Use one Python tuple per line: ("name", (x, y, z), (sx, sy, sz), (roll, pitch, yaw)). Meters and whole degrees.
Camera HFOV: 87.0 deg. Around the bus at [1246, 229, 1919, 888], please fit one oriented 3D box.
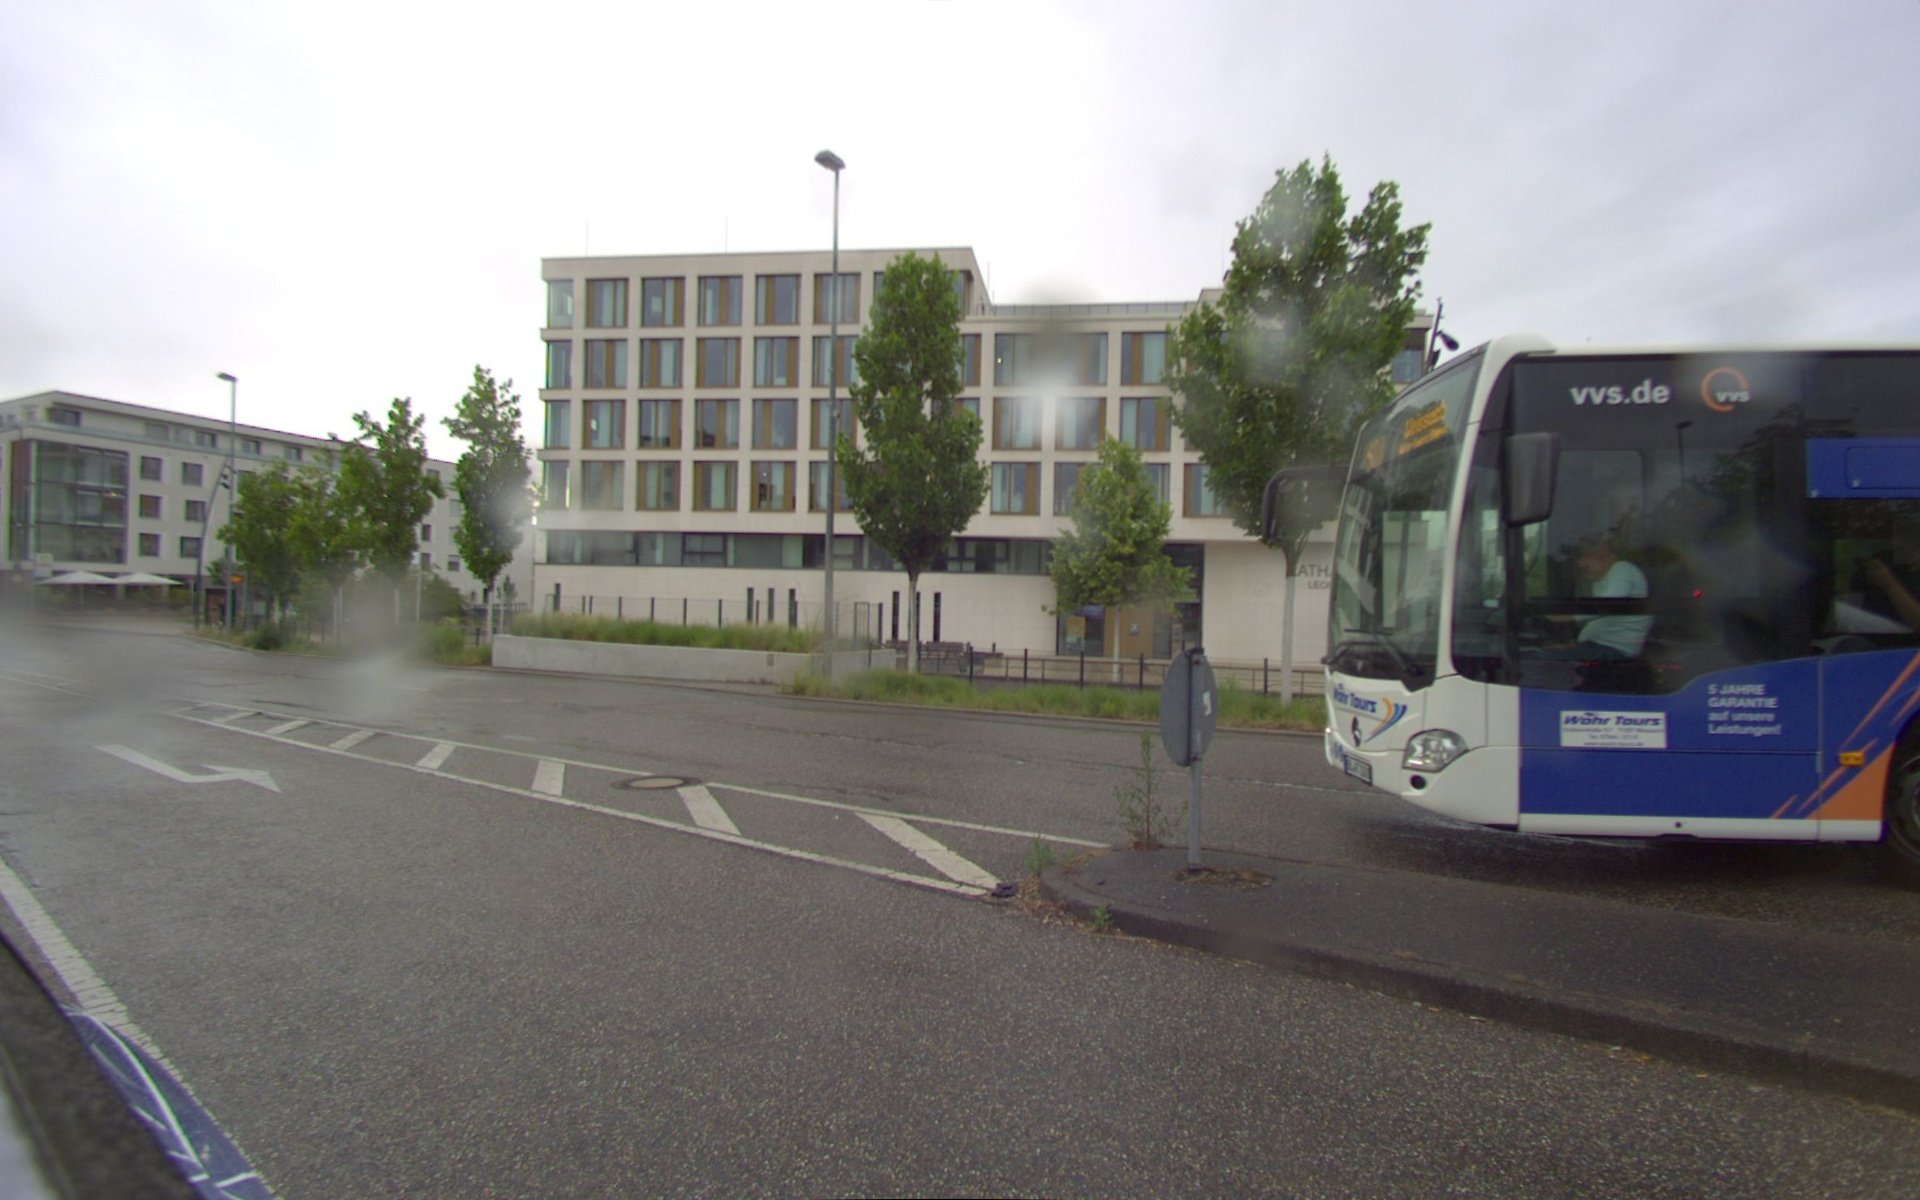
("bus", (6.501, -0.167, 6.082), (8.768, 3.138, 2.797), (0, -1, 4))
